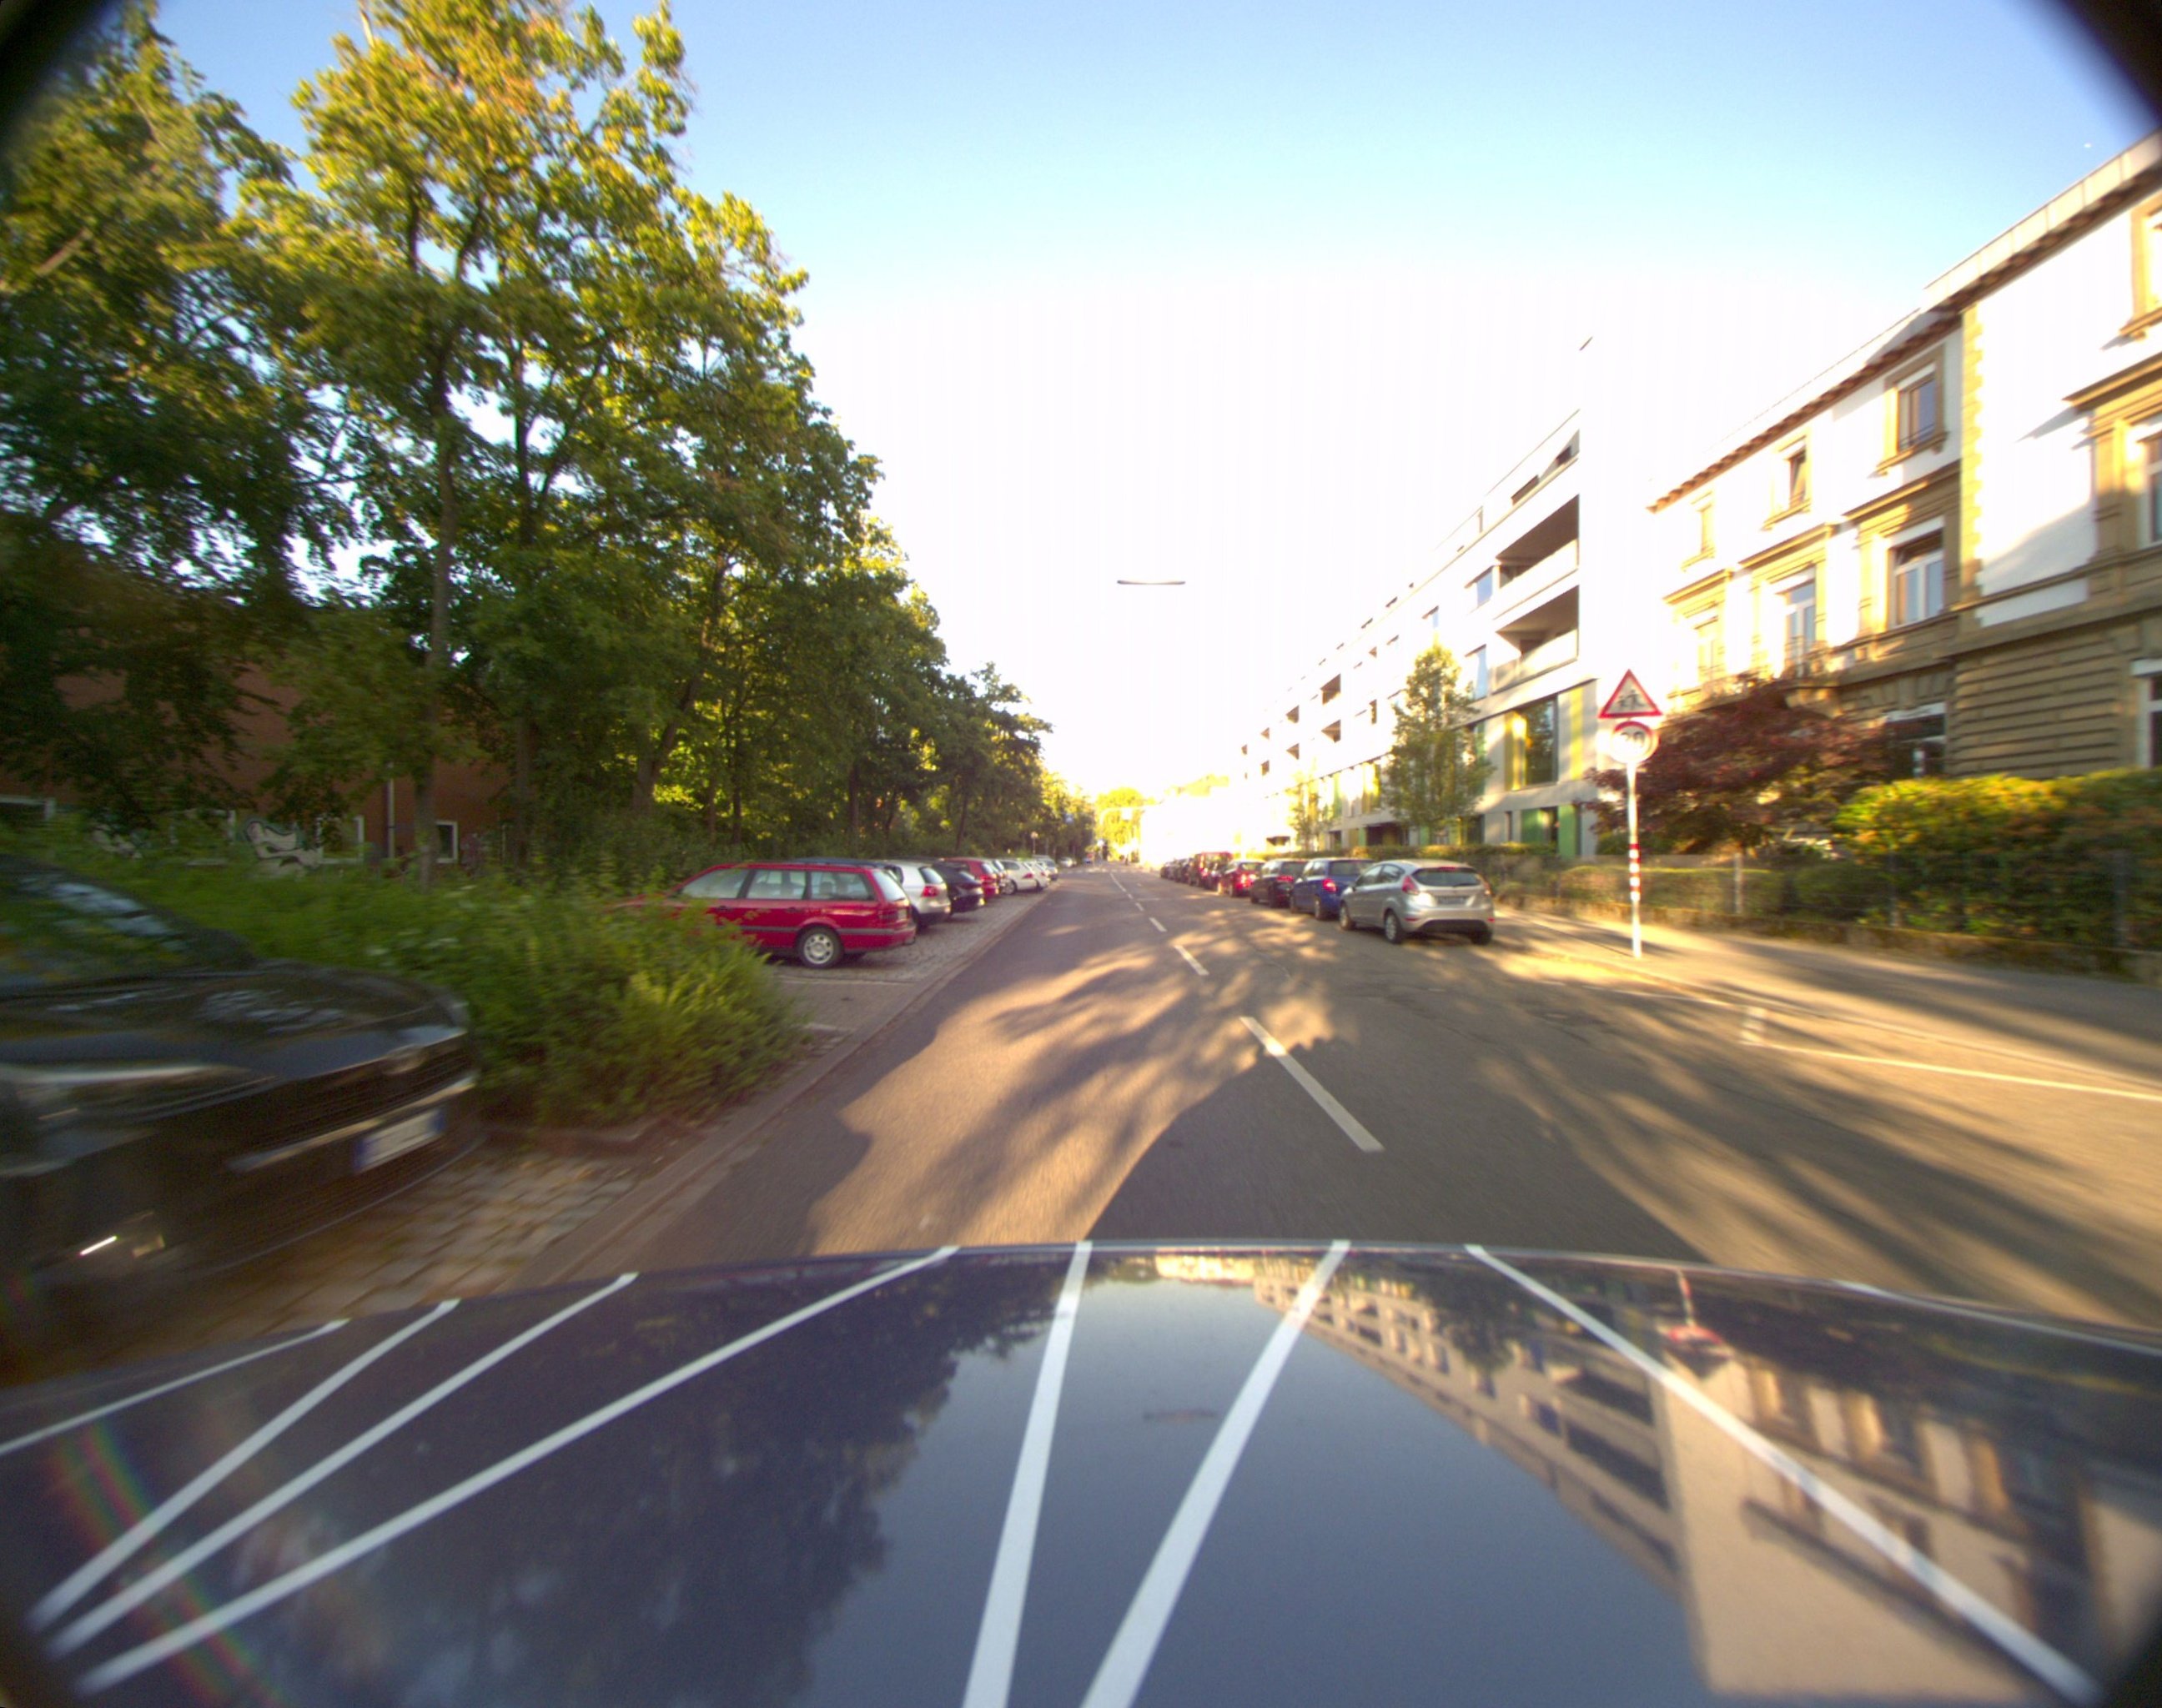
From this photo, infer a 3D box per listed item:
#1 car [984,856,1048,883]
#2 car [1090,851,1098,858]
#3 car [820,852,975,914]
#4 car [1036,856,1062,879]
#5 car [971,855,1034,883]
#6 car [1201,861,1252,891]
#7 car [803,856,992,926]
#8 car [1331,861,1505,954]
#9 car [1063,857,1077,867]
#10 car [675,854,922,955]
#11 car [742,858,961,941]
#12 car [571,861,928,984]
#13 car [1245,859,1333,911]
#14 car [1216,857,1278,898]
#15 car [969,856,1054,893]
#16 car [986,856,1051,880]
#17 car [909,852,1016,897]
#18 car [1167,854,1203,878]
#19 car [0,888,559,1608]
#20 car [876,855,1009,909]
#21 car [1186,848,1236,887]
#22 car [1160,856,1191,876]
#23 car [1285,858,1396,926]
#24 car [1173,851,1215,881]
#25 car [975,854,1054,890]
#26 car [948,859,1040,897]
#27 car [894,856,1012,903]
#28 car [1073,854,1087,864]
[{"bbox_3d":[-3.908,0.909,45.895,3.635,1.531,1.671,-1,1,1],"label":"car"},{"bbox_3d":[3.578,0.146,208.686,2.228,2.002,4.891,-1,0,2],"label":"car"},{"bbox_3d":[-5.093,0.783,21.408,3.816,1.466,1.832,3,1,2],"label":"car"},{"bbox_3d":[-2.273,0.927,52.855,1.655,1.558,4.299,0,0,-4],"label":"car"},{"bbox_3d":[-4.438,0.854,43.393,3.393,1.516,1.671,0,0,1],"label":"car"},{"bbox_3d":[6.506,0.956,34.287,1.560,1.272,3.733,1,0,0],"label":"car"},{"bbox_3d":[-4.378,0.863,18.609,4.131,1.466,1.831,2,1,-1],"label":"car"},{"bbox_3d":[6.117,0.889,14.291,1.605,1.485,3.772,1,0,1],"label":"car"},{"bbox_3d":[-1.551,1.126,109.570,1.751,1.478,4.178,0,0,4],"label":"car"},{"bbox_3d":[-4.903,0.854,13.596,3.722,1.546,1.741,2,1,-3],"label":"car"},{"bbox_3d":[-4.652,0.895,15.796,3.933,1.445,1.832,2,1,2],"label":"car"},{"bbox_3d":[-4.603,0.927,11.033,4.349,1.466,1.742,2,-1,0],"label":"car"},{"bbox_3d":[6.342,0.902,23.579,1.602,1.446,4.055,1,0,0],"label":"car"},{"bbox_3d":[6.416,0.879,29.749,1.602,1.447,3.861,0,0,0],"label":"car"},{"bbox_3d":[-3.108,0.917,34.573,3.676,1.436,1.735,3,0,-1],"label":"car"},{"bbox_3d":[-3.947,0.893,48.378,3.959,1.503,1.739,0,0,0],"label":"car"},{"bbox_3d":[-4.504,0.770,29.253,3.734,1.490,1.820,3,1,1],"label":"car"},{"bbox_3d":[6.886,0.784,50.624,1.746,1.525,4.115,-1,0,-1],"label":"car"},{"bbox_3d":[-4.254,0.979,2.565,3.754,1.585,1.697,-1,0,-1],"label":"car"},{"bbox_3d":[-4.317,0.856,24.072,3.816,1.466,1.757,3,0,1],"label":"car"},{"bbox_3d":[6.670,0.673,39.384,1.812,1.878,4.238,1,0,0],"label":"car"},{"bbox_3d":[6.801,0.869,55.090,1.746,1.349,4.396,0,0,1],"label":"car"},{"bbox_3d":[6.309,0.857,18.871,1.602,1.499,3.788,1,0,3],"label":"car"},{"bbox_3d":[6.606,0.690,44.822,1.746,1.666,4.416,-1,0,0],"label":"car"},{"bbox_3d":[-3.201,0.856,36.891,3.619,1.516,1.671,3,0,-1],"label":"car"},{"bbox_3d":[-3.583,0.976,31.799,3.675,1.543,1.735,0,0,-1],"label":"car"},{"bbox_3d":[-4.425,0.865,26.623,3.758,1.387,1.756,3,1,1],"label":"car"},{"bbox_3d":[-0.116,0.813,115.829,1.752,1.478,4.510,0,0,3],"label":"car"}]
